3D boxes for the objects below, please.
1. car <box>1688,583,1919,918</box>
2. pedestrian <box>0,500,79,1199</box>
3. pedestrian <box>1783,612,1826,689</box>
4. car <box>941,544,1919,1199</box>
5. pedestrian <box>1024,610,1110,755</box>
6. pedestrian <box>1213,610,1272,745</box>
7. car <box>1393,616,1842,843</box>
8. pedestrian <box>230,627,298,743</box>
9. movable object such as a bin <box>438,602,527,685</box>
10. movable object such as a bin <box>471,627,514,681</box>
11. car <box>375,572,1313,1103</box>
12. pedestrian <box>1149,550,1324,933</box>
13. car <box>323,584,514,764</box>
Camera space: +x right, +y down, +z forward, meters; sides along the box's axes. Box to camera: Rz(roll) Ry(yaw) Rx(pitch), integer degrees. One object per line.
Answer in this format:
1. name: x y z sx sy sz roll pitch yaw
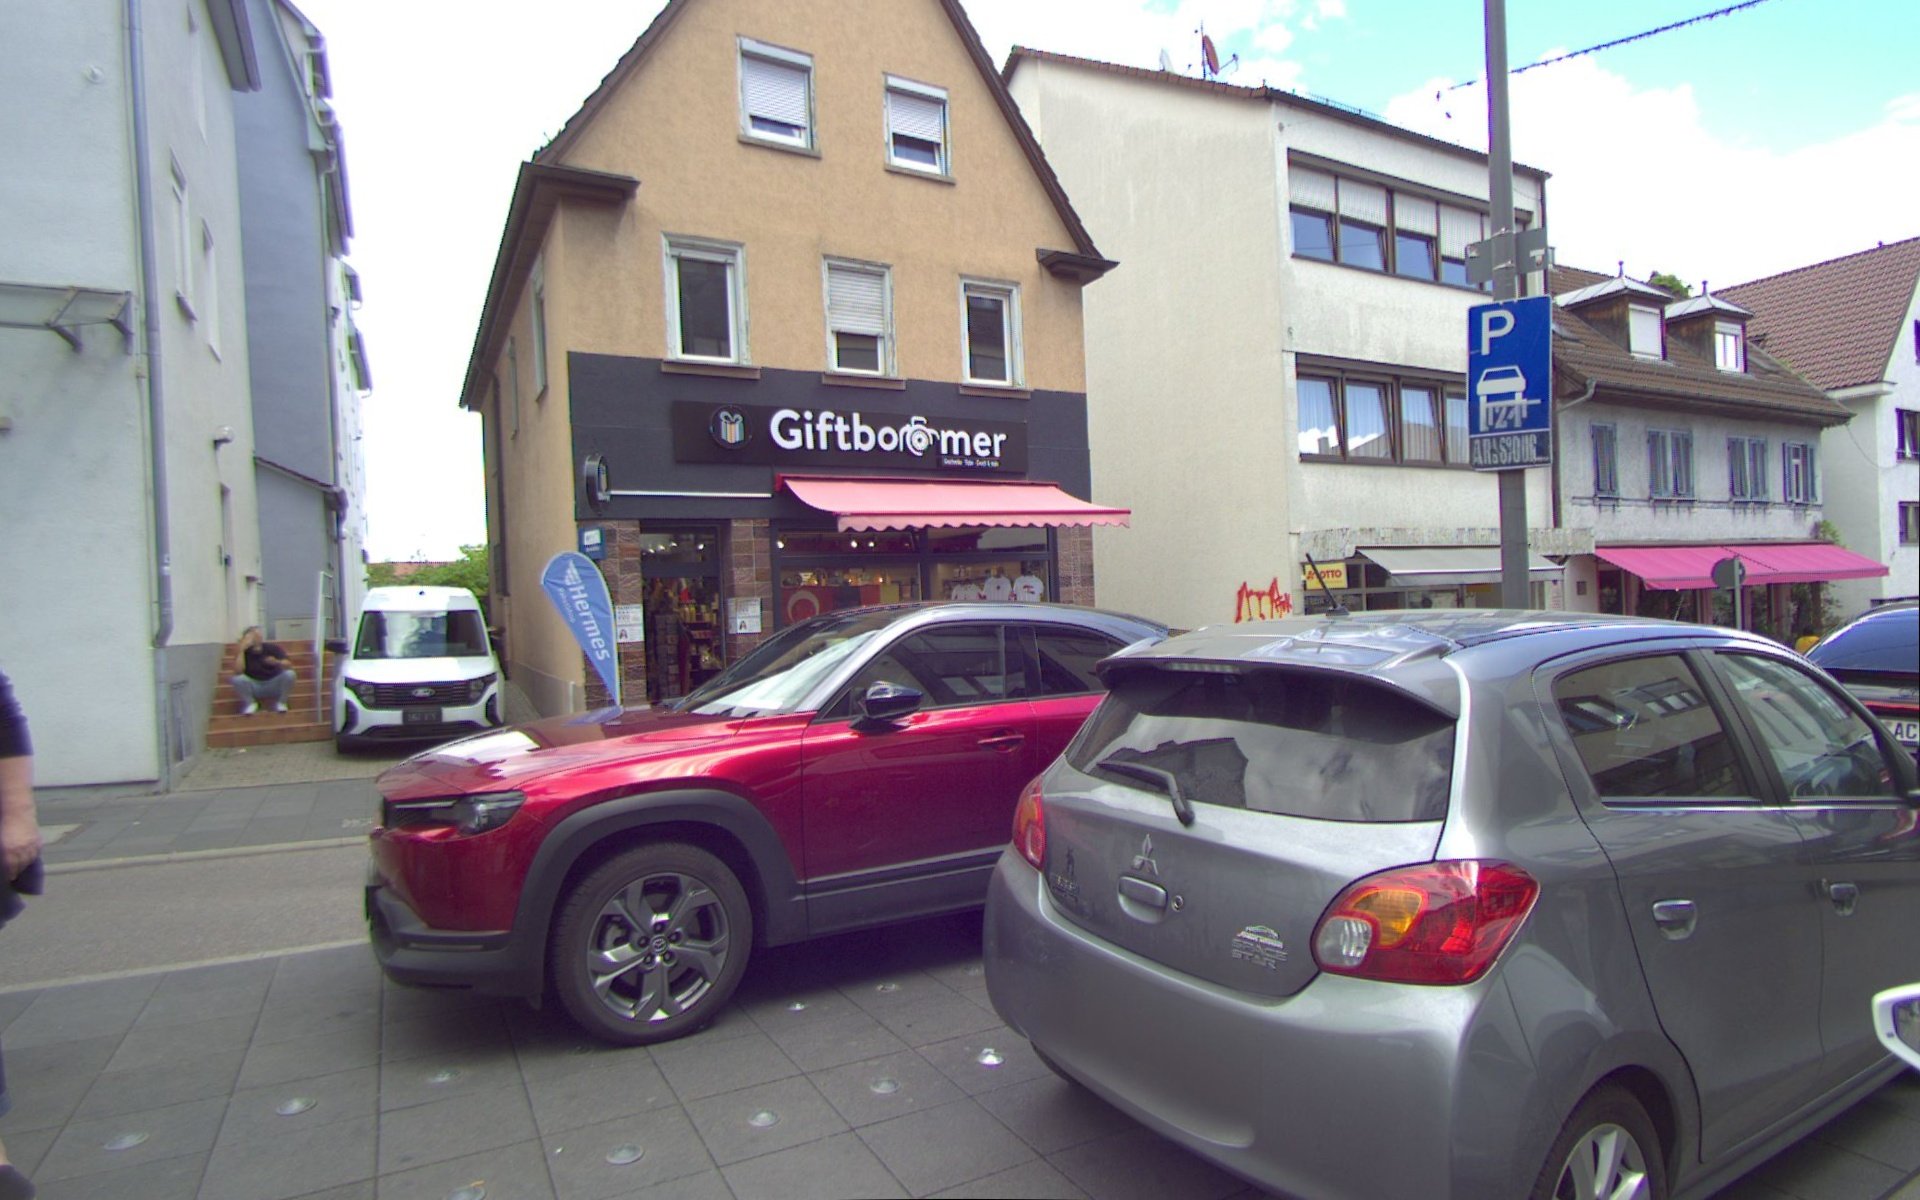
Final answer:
1. car: 6.553 0.790 6.132 4.266 1.661 1.946 1 0 -32
2. pedestrian: -2.631 0.626 2.238 0.889 1.694 0.531 0 0 -28
3. pedestrian: 19.148 1.129 22.780 0.570 1.711 0.575 1 0 -31
4. car: 1.914 0.721 3.212 3.628 1.553 1.612 1 0 -31
5. pedestrian: 1.310 0.982 12.349 0.817 1.711 0.636 1 -1 -28
6. pedestrian: 3.679 0.993 13.113 0.653 1.711 0.646 -1 -1 9
7. car: 5.650 0.925 8.538 3.840 1.495 1.730 1 0 -32
8. pedestrian: -8.418 1.003 12.168 0.600 1.336 0.622 1 0 -31
9. movable object such as a bin: -9.336 0.819 19.583 1.254 1.498 2.290 1 -1 -34
10. movable object such as a bin: -8.282 0.942 17.798 0.565 0.916 0.793 1 -1 -34
11. car: -0.384 0.773 4.825 4.146 1.563 1.730 1 -3 -32
12. pedestrian: 1.133 0.551 4.149 0.486 1.450 0.464 1 -3 -30
13. car: -6.937 0.773 12.989 1.860 1.898 4.054 1 1 -28
